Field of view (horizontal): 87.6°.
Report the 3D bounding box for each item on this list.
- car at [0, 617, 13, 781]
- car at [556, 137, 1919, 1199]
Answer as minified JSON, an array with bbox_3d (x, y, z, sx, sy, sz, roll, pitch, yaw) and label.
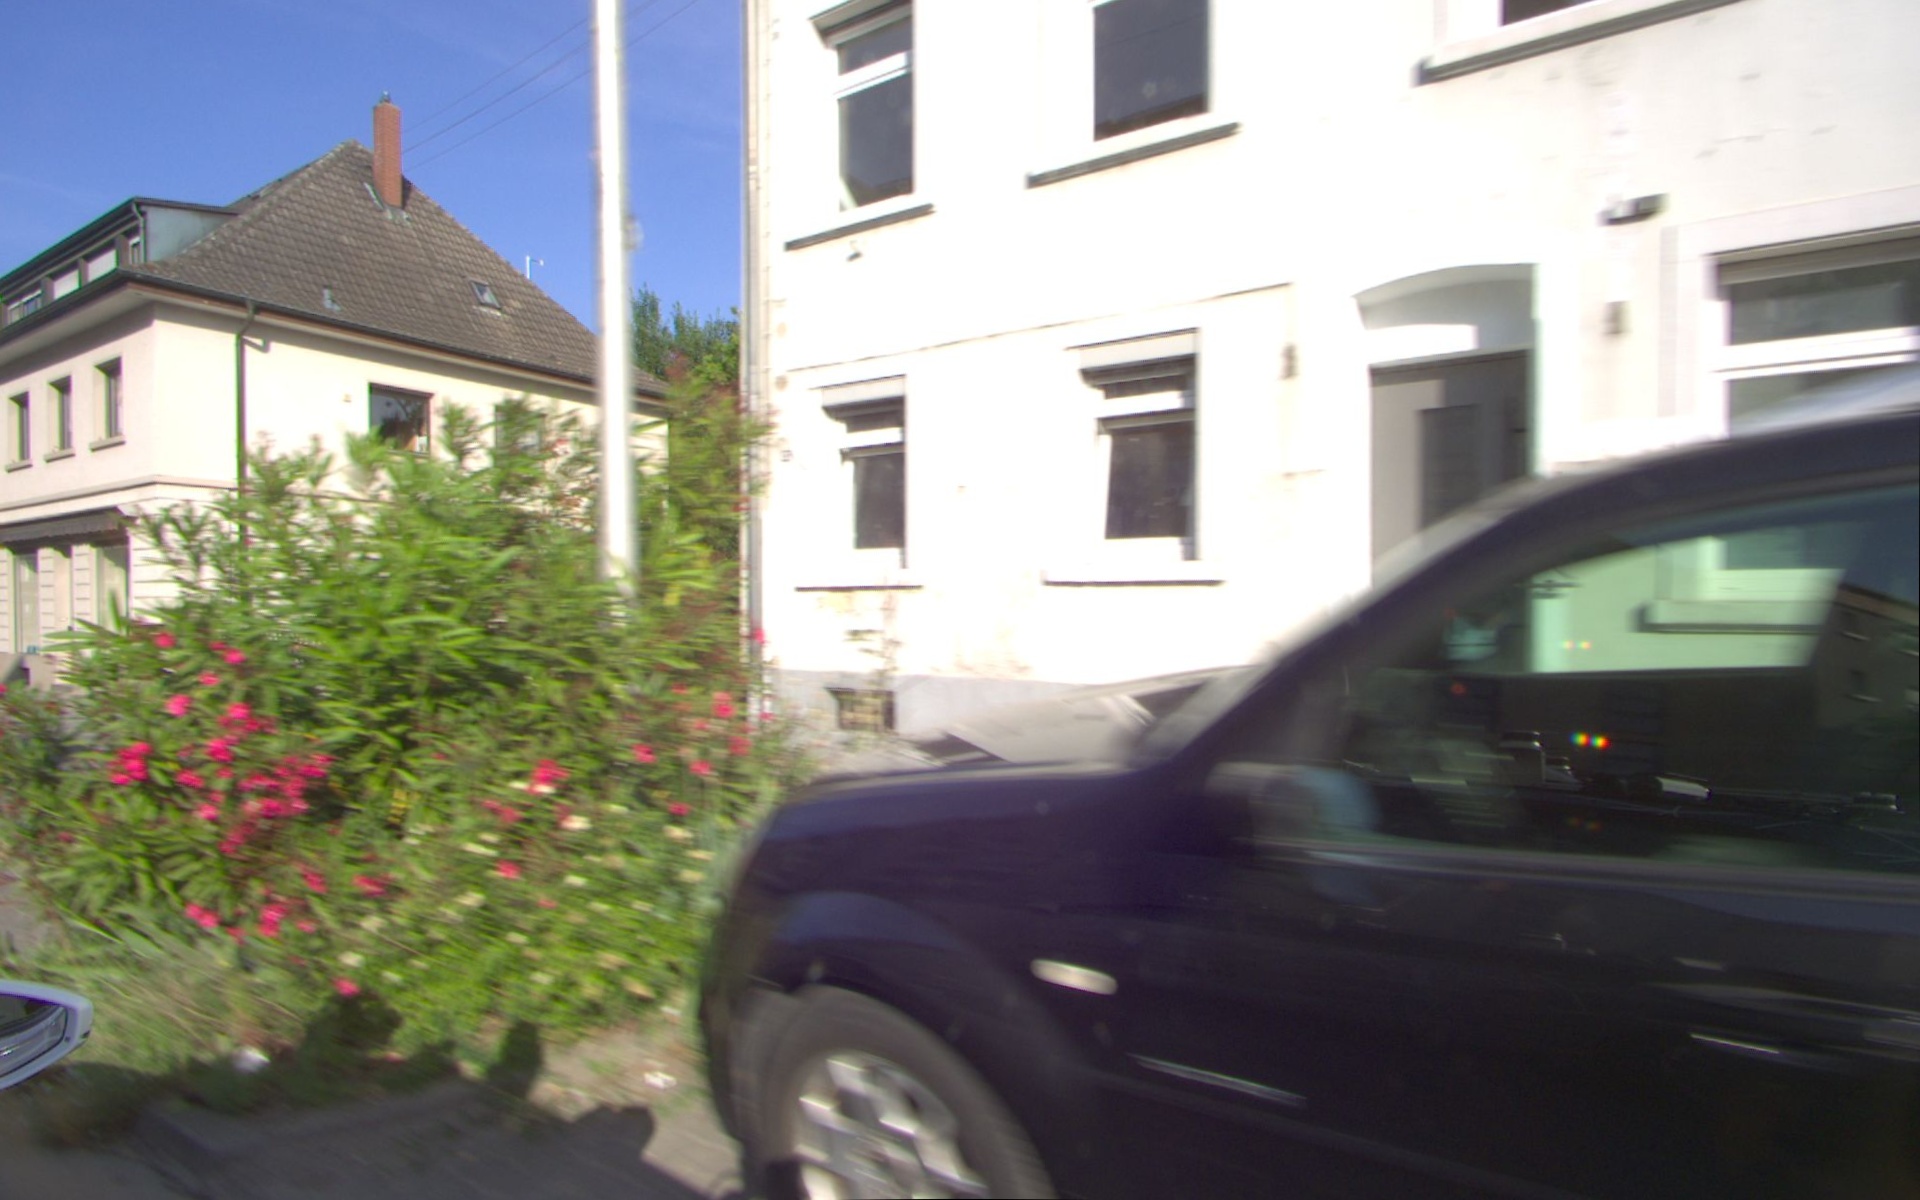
[{"bbox_3d":[-10.738,0.876,9.276,4.431,1.439,1.776,0,0,32],"label":"car"},{"bbox_3d":[1.482,0.438,1.978,4.547,1.881,2.069,1,2,35],"label":"car"}]
